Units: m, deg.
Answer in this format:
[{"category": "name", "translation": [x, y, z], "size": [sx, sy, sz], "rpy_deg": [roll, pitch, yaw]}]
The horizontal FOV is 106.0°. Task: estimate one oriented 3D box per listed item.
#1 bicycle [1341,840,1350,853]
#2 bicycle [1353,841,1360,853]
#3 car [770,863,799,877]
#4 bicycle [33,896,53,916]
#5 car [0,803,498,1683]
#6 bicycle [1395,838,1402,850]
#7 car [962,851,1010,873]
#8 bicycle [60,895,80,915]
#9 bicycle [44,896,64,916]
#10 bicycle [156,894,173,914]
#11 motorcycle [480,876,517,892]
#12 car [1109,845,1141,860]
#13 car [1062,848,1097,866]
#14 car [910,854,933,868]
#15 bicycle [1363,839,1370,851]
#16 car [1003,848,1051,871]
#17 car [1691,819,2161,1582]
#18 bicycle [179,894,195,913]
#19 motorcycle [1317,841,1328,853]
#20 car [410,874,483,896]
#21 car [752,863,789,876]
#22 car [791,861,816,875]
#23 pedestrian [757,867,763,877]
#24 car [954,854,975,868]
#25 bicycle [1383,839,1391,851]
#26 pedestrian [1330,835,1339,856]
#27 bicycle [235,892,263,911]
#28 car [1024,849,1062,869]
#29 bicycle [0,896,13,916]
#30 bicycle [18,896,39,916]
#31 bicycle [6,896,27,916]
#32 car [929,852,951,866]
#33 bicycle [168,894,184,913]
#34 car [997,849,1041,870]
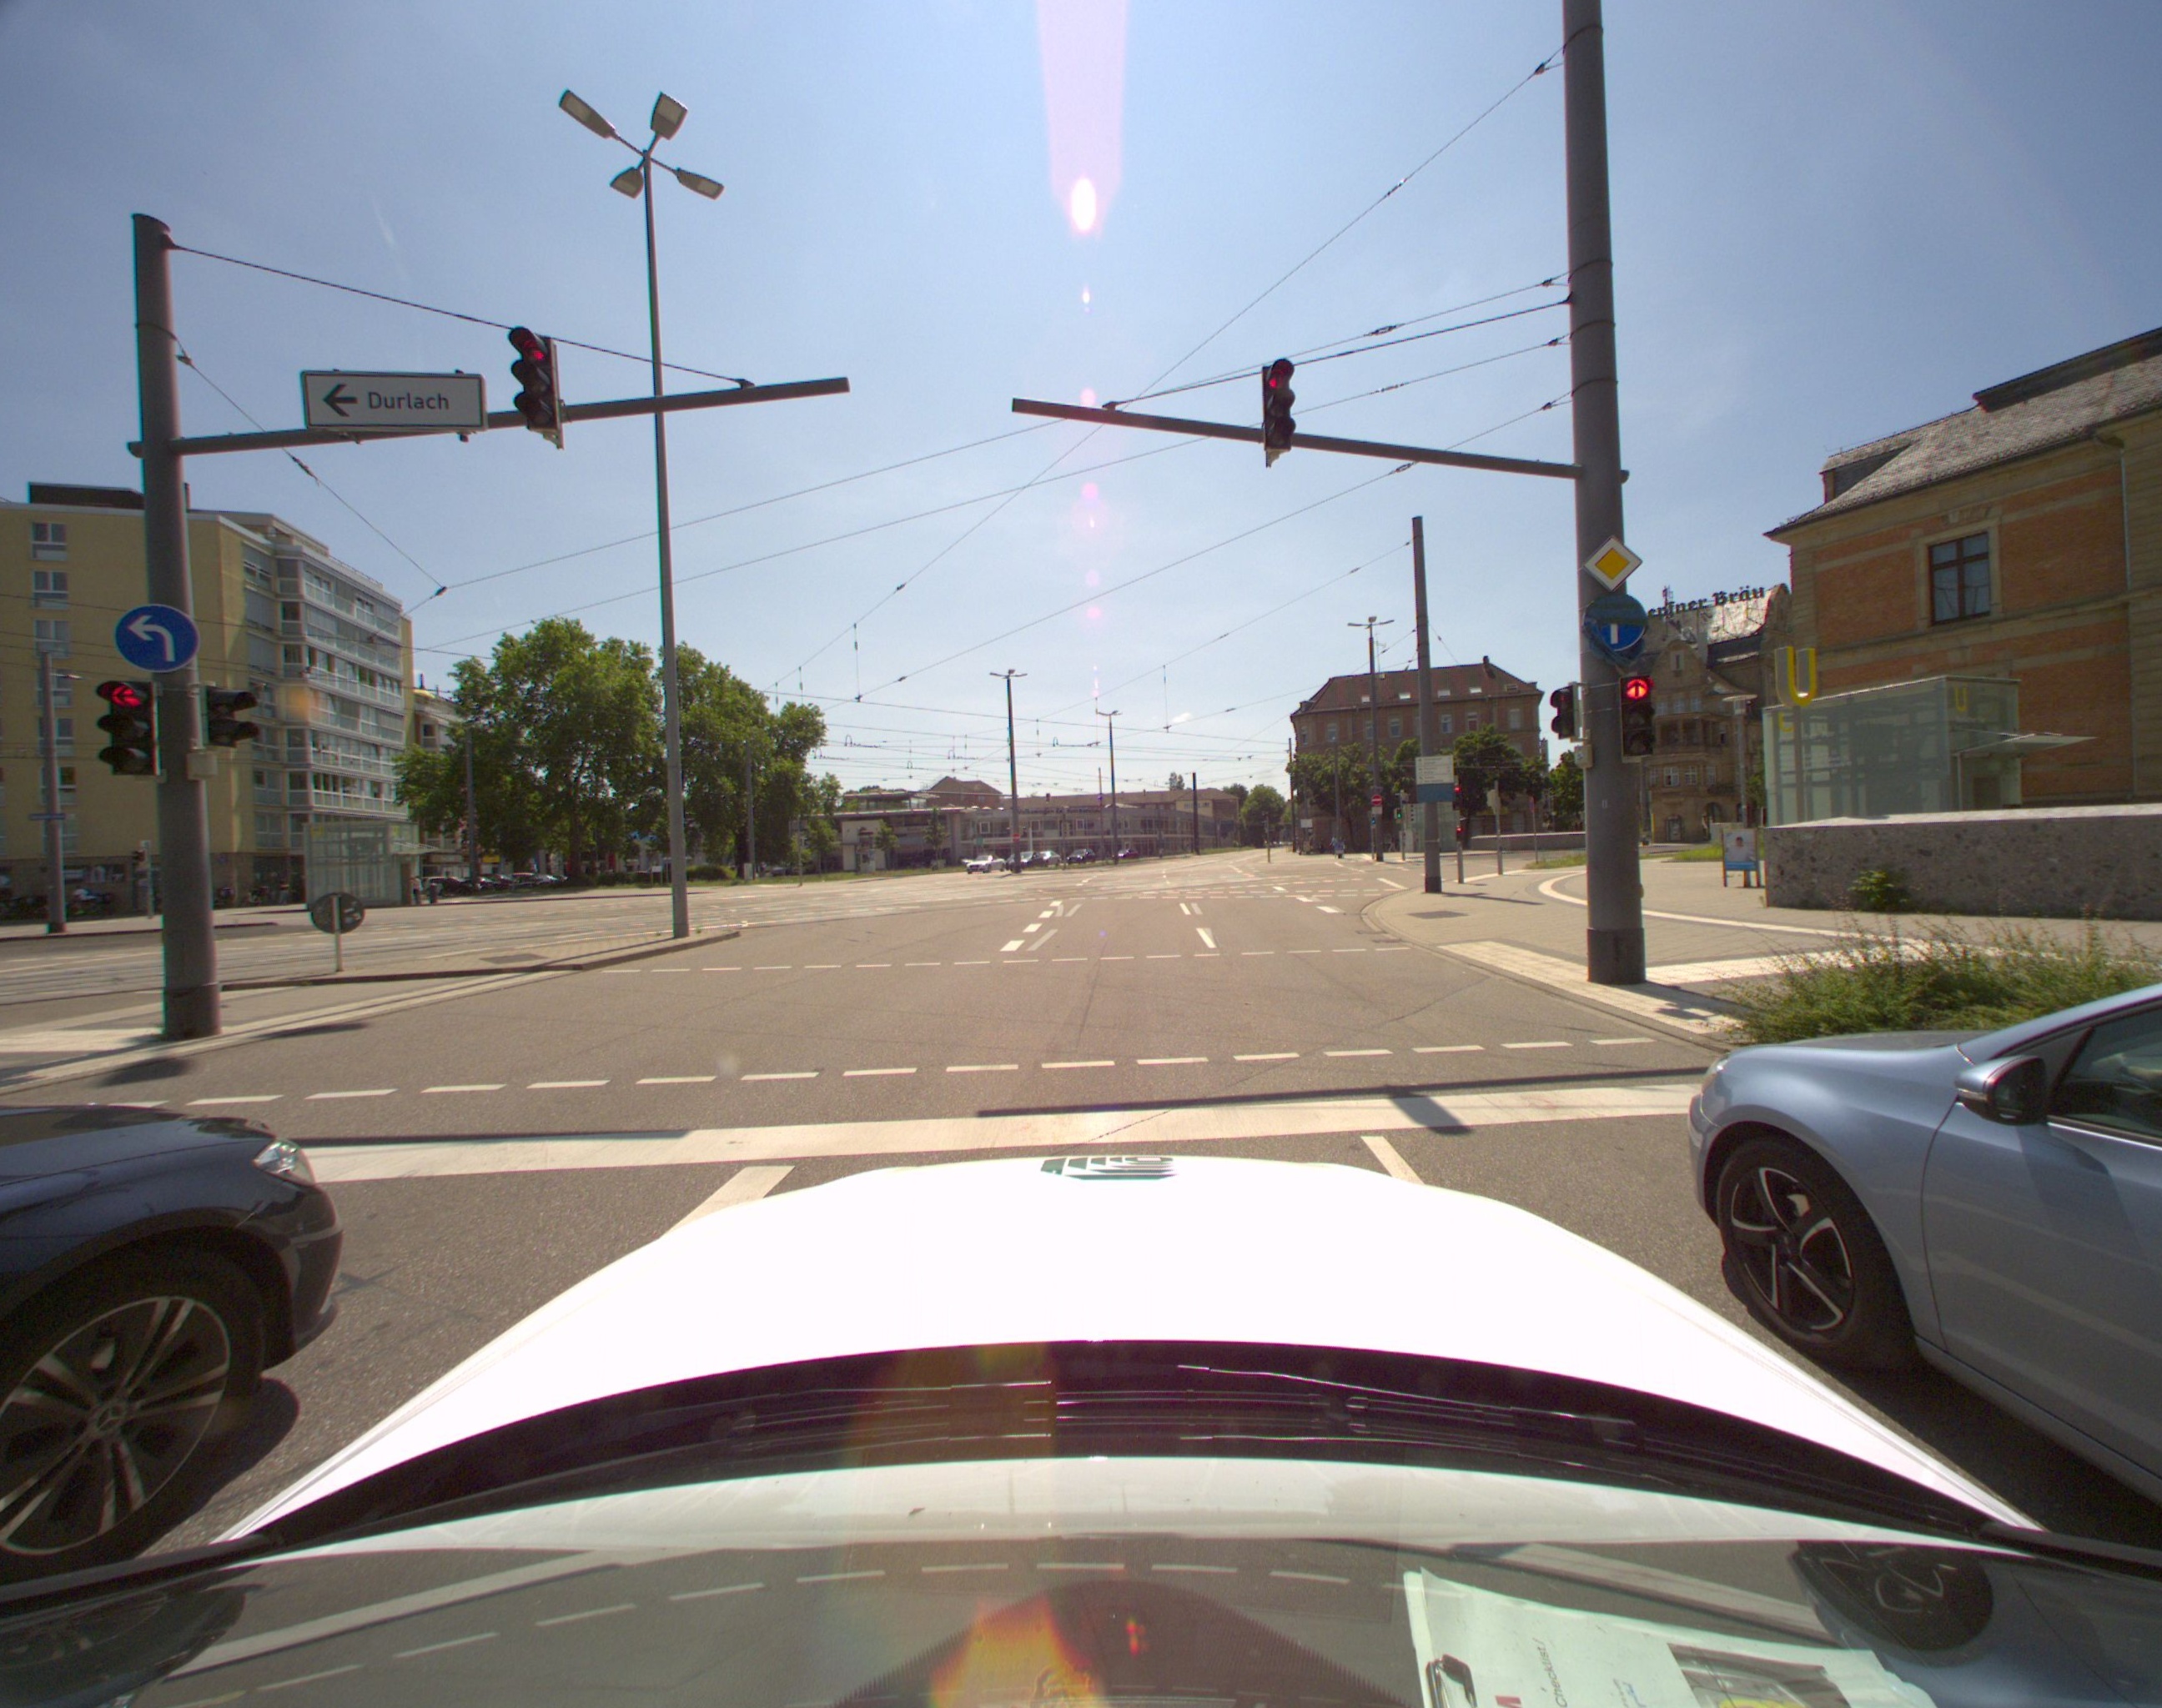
[{"category": "bicycle", "translation": [25.678, -0.730, 79.112], "size": [0.440, 1.146, 2.099], "rpy_deg": [-1, -1, 9]}, {"category": "bicycle", "translation": [26.525, -0.650, 78.452], "size": [0.546, 1.120, 1.830], "rpy_deg": [-2, 0, 21]}, {"category": "car", "translation": [-37.396, 2.005, 102.801], "size": [1.760, 1.510, 4.330], "rpy_deg": [-2, 0, 3]}, {"category": "bicycle", "translation": [-56.913, 2.829, 44.653], "size": [0.435, 1.026, 1.426], "rpy_deg": [-2, 0, -42]}, {"category": "car", "translation": [-2.973, 0.742, 0.359], "size": [1.790, 1.640, 4.808], "rpy_deg": [-1, 0, 2]}, {"category": "bicycle", "translation": [30.460, -0.926, 78.164], "size": [0.546, 1.120, 1.938], "rpy_deg": [-2, 0, 18]}, {"category": "car", "translation": [-7.478, 0.617, 64.592], "size": [2.061, 1.580, 4.866], "rpy_deg": [-2, 0, 15]}, {"category": "bicycle", "translation": [-55.909, 2.825, 45.048], "size": [0.435, 1.026, 1.426], "rpy_deg": [-2, 0, -42]}, {"category": "bicycle", "translation": [-56.407, 2.826, 44.727], "size": [0.435, 1.026, 1.426], "rpy_deg": [-2, 0, -42]}, {"category": "bicycle", "translation": [-51.687, 2.803, 45.927], "size": [0.435, 1.026, 1.426], "rpy_deg": [-2, 0, -42]}, {"category": "motorcycle", "translation": [-39.535, 2.016, 55.293], "size": [1.925, 0.961, 0.521], "rpy_deg": [-2, 0, -29]}, {"category": "car", "translation": [5.432, -0.127, 99.801], "size": [1.974, 1.776, 4.025], "rpy_deg": [-1, -1, 38]}, {"category": "car", "translation": [-0.110, 0.280, 85.888], "size": [2.061, 1.682, 4.870], "rpy_deg": [-2, 0, 19]}, {"category": "car", "translation": [-19.693, 0.866, 100.739], "size": [1.913, 1.707, 4.002], "rpy_deg": [0, -1, 2]}, {"category": "bicycle", "translation": [27.350, -0.884, 78.085], "size": [0.546, 1.119, 1.829], "rpy_deg": [-2, 0, 18]}, {"category": "car", "translation": [-4.234, 0.381, 64.827], "size": [1.977, 1.637, 4.870], "rpy_deg": [-2, 0, 19]}, {"category": "car", "translation": [2.855, 0.656, 0.773], "size": [1.645, 1.459, 4.005], "rpy_deg": [-1, 0, 2]}, {"category": "bicycle", "translation": [-50.800, 2.800, 46.284], "size": [0.435, 1.026, 1.426], "rpy_deg": [-2, 0, -42]}, {"category": "motorcycle", "translation": [23.320, -0.678, 78.701], "size": [0.577, 1.074, 1.949], "rpy_deg": [-2, 0, 6]}, {"category": "car", "translation": [-49.301, 2.399, 63.334], "size": [4.001, 1.420, 1.986], "rpy_deg": [-2, 0, -21]}, {"category": "car", "translation": [-41.357, 2.053, 108.442], "size": [4.343, 1.510, 1.754], "rpy_deg": [-2, 0, -33]}, {"category": "car", "translation": [-34.800, 1.729, 102.280], "size": [1.763, 1.510, 4.322], "rpy_deg": [-2, 0, -3]}, {"category": "pedestrian", "translation": [-39.148, 2.154, 99.410], "size": [0.510, 1.204, 0.446], "rpy_deg": [-2, 0, 7]}, {"category": "car", "translation": [-14.385, 0.826, 100.724], "size": [1.913, 1.707, 4.002], "rpy_deg": [0, -1, 2]}, {"category": "bicycle", "translation": [29.366, -0.891, 78.205], "size": [0.546, 1.120, 1.879], "rpy_deg": [-2, 0, 18]}, {"category": "pedestrian", "translation": [21.803, -0.723, 70.075], "size": [0.462, 1.708, 0.636], "rpy_deg": [-2, 0, -15]}, {"category": "bicycle", "translation": [-49.273, 2.809, 48.259], "size": [0.432, 1.026, 1.437], "rpy_deg": [-2, 0, -14]}, {"category": "car", "translation": [-3.513, 0.468, 76.589], "size": [1.977, 1.739, 4.565], "rpy_deg": [-2, 0, 19]}, {"category": "bicycle", "translation": [-58.456, 2.835, 44.107], "size": [0.435, 1.026, 1.426], "rpy_deg": [-2, 0, -42]}, {"category": "bicycle", "translation": [-57.402, 2.830, 44.417], "size": [0.435, 1.026, 1.426], "rpy_deg": [-2, 0, -42]}, {"category": "bicycle", "translation": [-57.857, 2.832, 44.258], "size": [0.435, 1.026, 1.426], "rpy_deg": [-2, 0, -42]}, {"category": "car", "translation": [-17.414, 0.652, 100.712], "size": [1.913, 1.707, 4.002], "rpy_deg": [0, -1, 2]}, {"category": "bicycle", "translation": [-51.223, 2.801, 46.096], "size": [0.435, 1.026, 1.426], "rpy_deg": [-2, 0, -42]}, {"category": "car", "translation": [-5.324, 0.447, 70.685], "size": [1.977, 1.700, 4.870], "rpy_deg": [-2, 0, 19]}]
